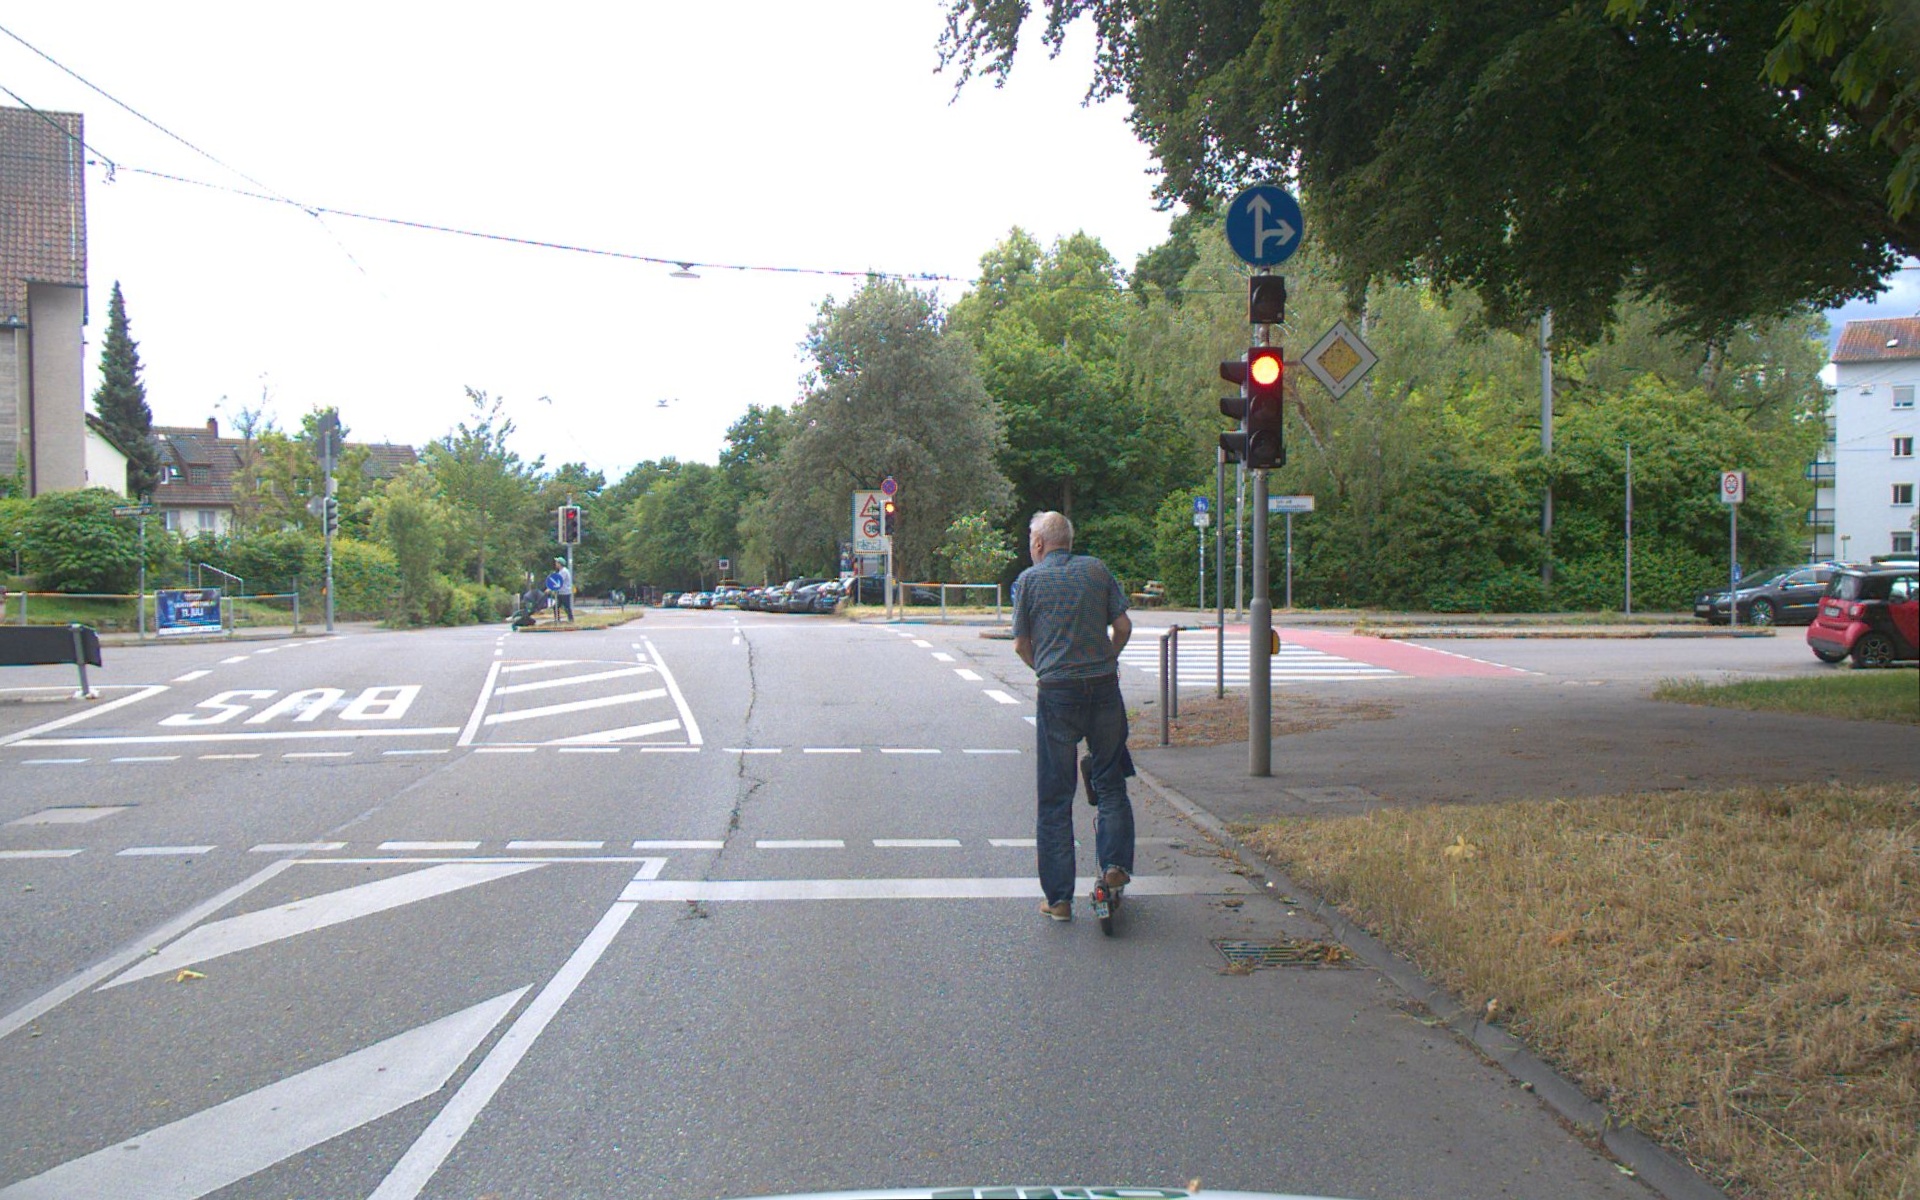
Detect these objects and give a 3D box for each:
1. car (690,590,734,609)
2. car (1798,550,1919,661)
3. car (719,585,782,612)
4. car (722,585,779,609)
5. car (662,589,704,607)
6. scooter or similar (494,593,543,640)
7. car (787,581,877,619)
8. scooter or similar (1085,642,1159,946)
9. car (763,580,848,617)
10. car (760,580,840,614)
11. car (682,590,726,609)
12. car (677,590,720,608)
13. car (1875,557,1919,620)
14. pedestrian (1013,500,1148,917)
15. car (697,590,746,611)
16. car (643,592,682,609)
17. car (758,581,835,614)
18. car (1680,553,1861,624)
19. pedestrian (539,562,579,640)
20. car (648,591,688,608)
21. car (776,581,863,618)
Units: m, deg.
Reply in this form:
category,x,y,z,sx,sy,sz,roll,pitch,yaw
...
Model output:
category,x,y,z,sx,sy,sz,roll,pitch,yaw
car,-23.050,-0.020,153.711,3.790,1.639,1.716,-2,1,-24
car,15.261,0.038,25.827,3.444,1.639,1.729,-2,1,4
car,-13.772,-0.110,108.707,3.790,1.639,1.716,-2,1,-24
car,-15.428,-0.250,121.650,3.790,1.639,1.716,-2,1,-24
car,-27.679,-0.200,165.411,3.790,1.639,1.716,-2,1,-24
scooter or similar,-10.870,0.400,40.715,1.093,1.100,0.573,-1,1,-23
car,-5.923,-0.010,76.660,3.792,1.639,1.715,-2,1,-25
scooter or similar,0.736,0.814,7.386,0.276,1.199,1.178,-1,1,7
car,-7.568,-0.083,81.212,3.790,1.639,1.716,-2,1,-24
car,-8.356,-0.148,86.514,3.790,1.639,1.716,-2,1,-24
car,-24.109,-0.093,155.828,3.790,1.639,1.716,-2,1,-24
car,-25.040,-0.120,158.384,3.790,1.639,1.716,-2,1,-24
car,26.410,-0.351,45.809,1.689,1.639,3.850,-1,1,27
pedestrian,0.558,0.483,7.559,0.560,1.845,0.421,-1,0,7
car,-20.542,0.058,142.444,3.790,1.639,1.716,-2,1,-24
car,-31.920,0.037,177.477,3.790,1.639,1.716,-2,1,-24
car,-8.795,-0.161,88.920,3.790,1.639,1.716,-2,1,-24
car,19.159,-0.275,39.229,3.444,1.557,1.729,-2,1,5
pedestrian,-9.966,0.018,41.104,0.871,1.895,0.571,-1,0,-21
car,-30.911,-0.021,175.155,3.790,1.639,1.716,-2,1,-24
car,-6.717,-0.029,79.190,3.790,1.639,1.716,-2,1,-24
